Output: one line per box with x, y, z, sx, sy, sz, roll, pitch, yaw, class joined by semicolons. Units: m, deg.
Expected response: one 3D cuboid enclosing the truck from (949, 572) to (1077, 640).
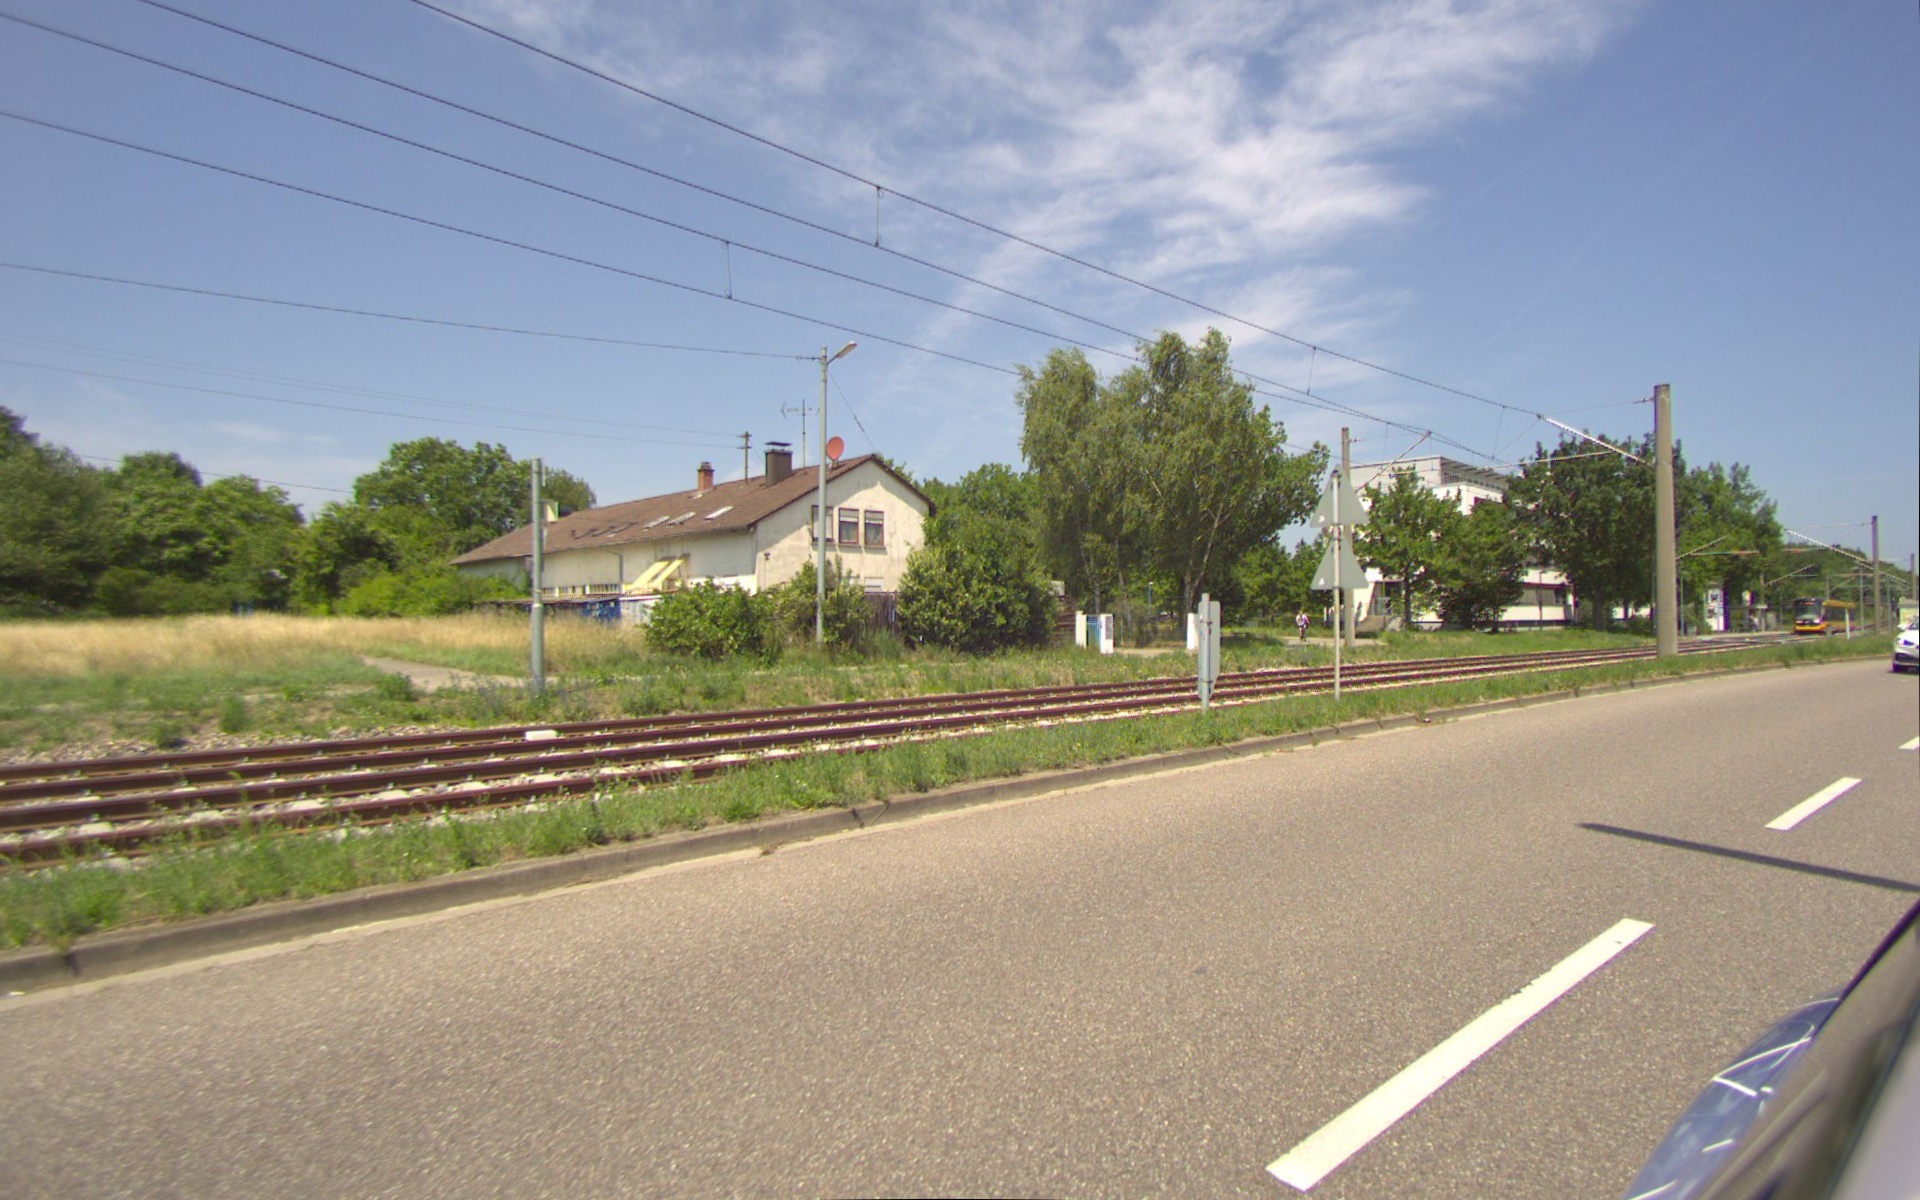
2.320;0.219;45.767;2.282;2.879;5.843;0;0;-44;truck

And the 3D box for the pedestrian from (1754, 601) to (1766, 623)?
69.221;1.003;87.598;0.692;1.866;0.702;-4;-3;37;pedestrian

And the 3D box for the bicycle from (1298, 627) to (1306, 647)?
20.527;2.213;60.738;0.425;1.134;1.571;-1;-1;18;bicycle

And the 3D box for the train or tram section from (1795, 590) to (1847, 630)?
85.163;0.908;100.014;12.297;3.626;2.816;0;2;-45;train or tram section

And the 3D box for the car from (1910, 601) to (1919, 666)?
22.779;0.750;22.699;4.372;1.407;1.685;1;0;-41;car

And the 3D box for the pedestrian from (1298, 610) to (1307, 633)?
20.620;1.296;60.894;0.452;1.421;0.581;0;-1;16;pedestrian
